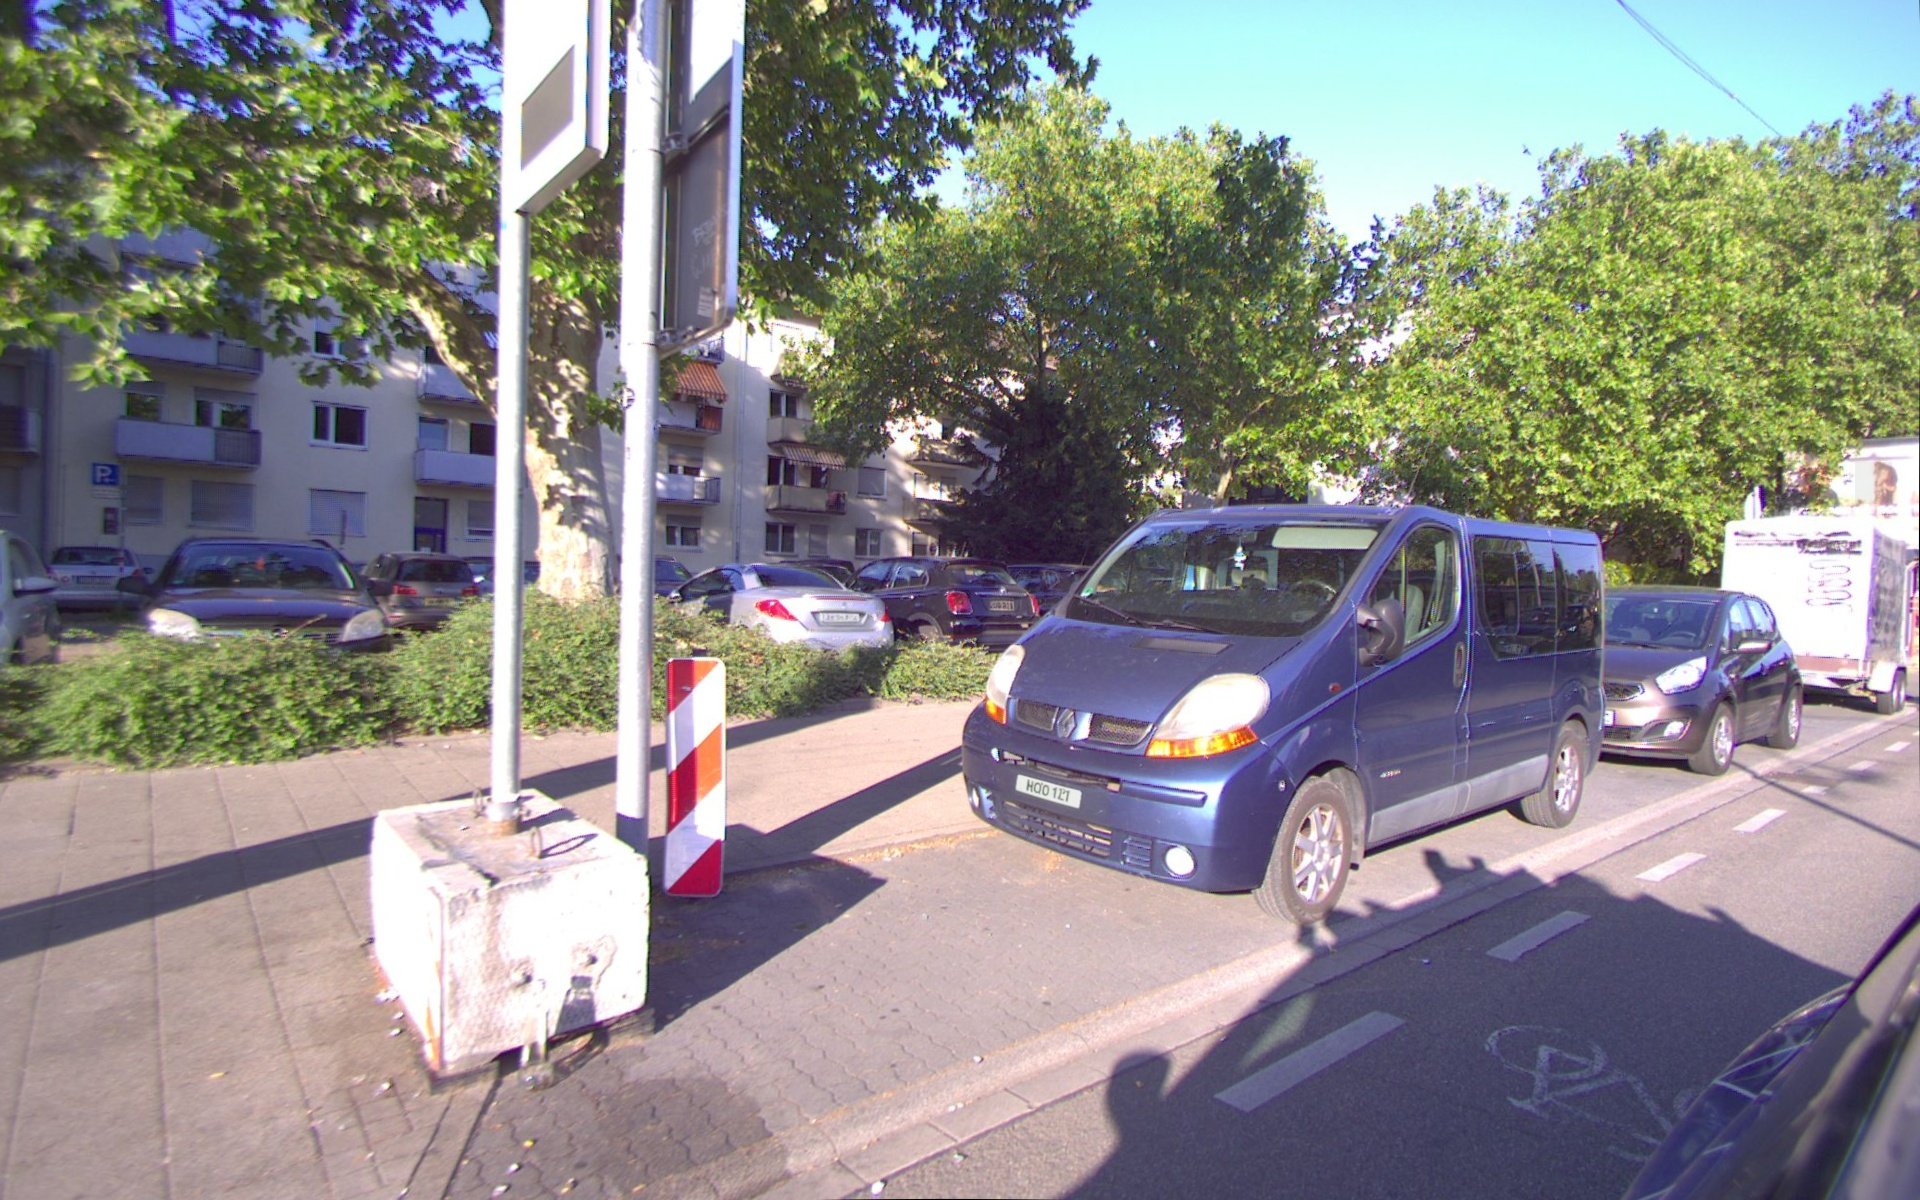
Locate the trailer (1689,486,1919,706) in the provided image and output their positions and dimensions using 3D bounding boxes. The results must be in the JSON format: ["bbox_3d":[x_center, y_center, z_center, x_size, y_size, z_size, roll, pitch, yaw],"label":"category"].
[{"bbox_3d":[12.126,-0.062,14.243,4.567,2.620,1.889,1,1,-40],"label":"trailer"}]

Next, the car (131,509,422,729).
[{"bbox_3d":[-6.256,0.055,9.141,1.769,1.513,4.123,1,2,-38],"label":"car"}]

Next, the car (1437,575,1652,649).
[{"bbox_3d":[13.880,0.230,24.169,4.266,1.514,1.976,2,1,34],"label":"car"}]

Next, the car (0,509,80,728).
[{"bbox_3d":[-8.135,0.095,7.802,1.769,1.455,3.849,3,-2,-38],"label":"car"}]

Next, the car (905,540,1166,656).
[{"bbox_3d":[1.038,-0.015,15.788,1.769,1.570,4.122,1,-1,-38],"label":"car"}]

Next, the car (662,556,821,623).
[{"bbox_3d":[-5.525,-0.298,25.272,1.966,1.514,4.287,0,2,-43],"label":"car"}]

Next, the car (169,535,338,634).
[{"bbox_3d":[-12.766,-0.312,18.166,1.966,1.554,4.288,1,2,-42],"label":"car"}]

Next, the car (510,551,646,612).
[{"bbox_3d":[-10.303,-0.533,27.138,1.949,1.514,4.287,0,2,-43],"label":"car"}]

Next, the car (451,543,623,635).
[{"bbox_3d":[-8.869,-0.276,21.031,1.966,1.712,4.287,1,2,-43],"label":"car"}]

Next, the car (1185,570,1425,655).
[{"bbox_3d":[7.065,0.197,21.034,1.966,1.514,4.287,0,2,-43],"label":"car"}]

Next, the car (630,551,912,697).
[{"bbox_3d":[-2.524,0.177,12.690,1.769,1.513,4.123,1,2,-38],"label":"car"}]

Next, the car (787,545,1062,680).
[{"bbox_3d":[-0.650,0.073,14.256,1.769,1.619,4.123,1,2,-38],"label":"car"}]

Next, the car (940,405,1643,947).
[{"bbox_3d":[2.235,0.276,6.095,4.481,2.104,1.889,0,1,-40],"label":"car"}]

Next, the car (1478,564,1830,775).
[{"bbox_3d":[6.894,0.532,9.913,3.928,1.651,1.800,0,1,-40],"label":"car"}]

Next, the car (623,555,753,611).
[{"bbox_3d":[-8.140,-0.527,30.074,1.966,1.514,4.287,0,2,-43],"label":"car"}]

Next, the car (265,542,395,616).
[{"bbox_3d":[-14.286,-0.494,22.862,1.786,1.514,3.875,1,2,-43],"label":"car"}]

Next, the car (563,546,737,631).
[{"bbox_3d":[-7.011,-0.307,22.618,1.966,1.712,4.448,1,2,-43],"label":"car"}]

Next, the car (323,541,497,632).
[{"bbox_3d":[-10.730,-0.307,19.595,1.966,1.554,4.287,0,2,-43],"label":"car"}]

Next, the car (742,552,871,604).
[{"bbox_3d":[-4.902,-0.707,32.002,1.966,1.514,4.287,1,2,-43],"label":"car"}]

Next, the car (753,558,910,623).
[{"bbox_3d":[-3.466,-0.290,26.705,1.966,1.553,4.287,1,2,-43],"label":"car"}]
